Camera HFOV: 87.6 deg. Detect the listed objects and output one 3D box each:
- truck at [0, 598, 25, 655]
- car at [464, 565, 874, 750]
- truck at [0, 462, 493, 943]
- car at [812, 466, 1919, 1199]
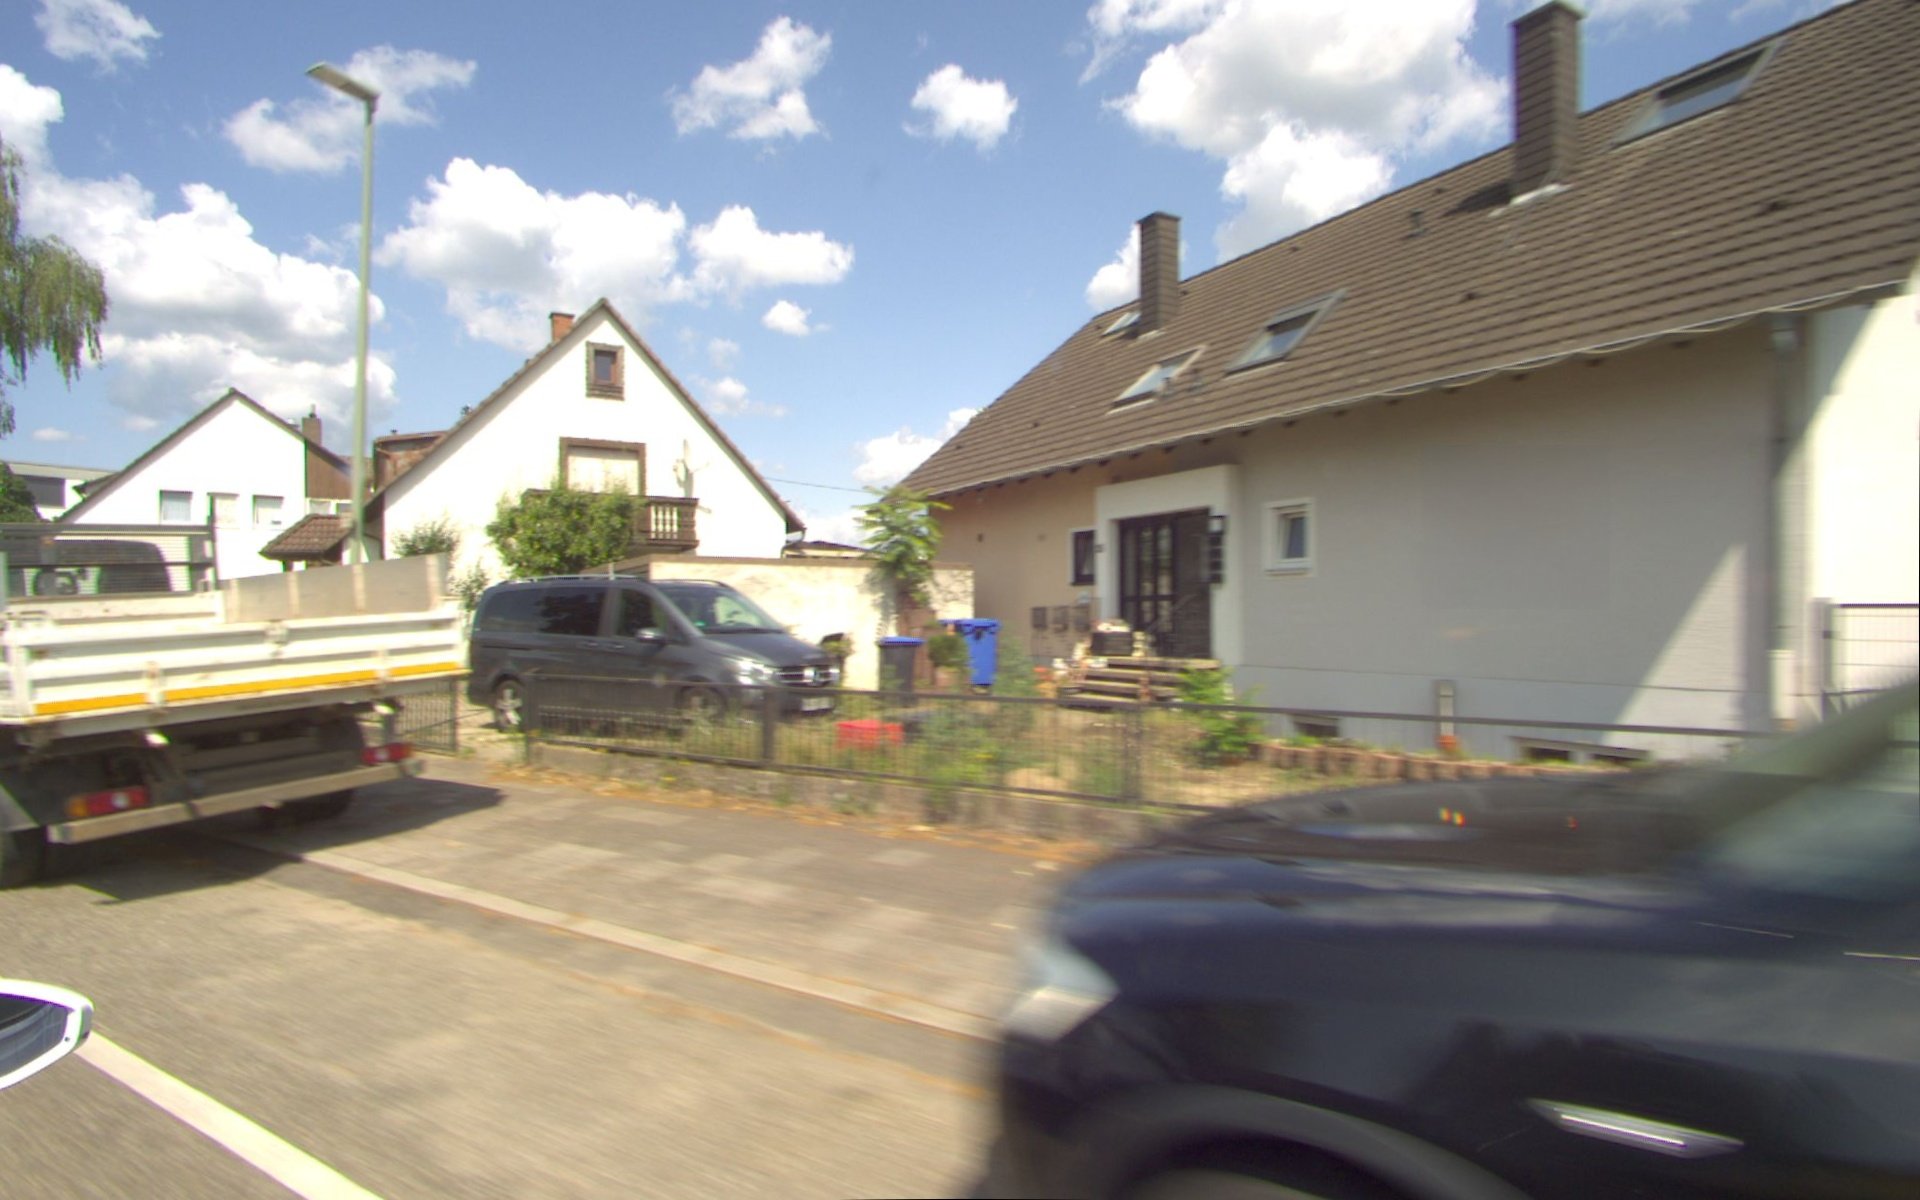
[{"bbox_3d":[-45.100,1.155,43.695,2.517,2.611,6.059,0,-1,7],"label":"truck"},{"bbox_3d":[-3.618,0.619,12.202,4.943,1.890,1.855,-1,0,28],"label":"car"},{"bbox_3d":[-6.387,0.482,7.488,5.813,2.331,2.514,-1,2,34],"label":"truck"},{"bbox_3d":[2.082,0.710,1.403,4.490,1.683,1.826,-1,-1,34],"label":"car"}]
